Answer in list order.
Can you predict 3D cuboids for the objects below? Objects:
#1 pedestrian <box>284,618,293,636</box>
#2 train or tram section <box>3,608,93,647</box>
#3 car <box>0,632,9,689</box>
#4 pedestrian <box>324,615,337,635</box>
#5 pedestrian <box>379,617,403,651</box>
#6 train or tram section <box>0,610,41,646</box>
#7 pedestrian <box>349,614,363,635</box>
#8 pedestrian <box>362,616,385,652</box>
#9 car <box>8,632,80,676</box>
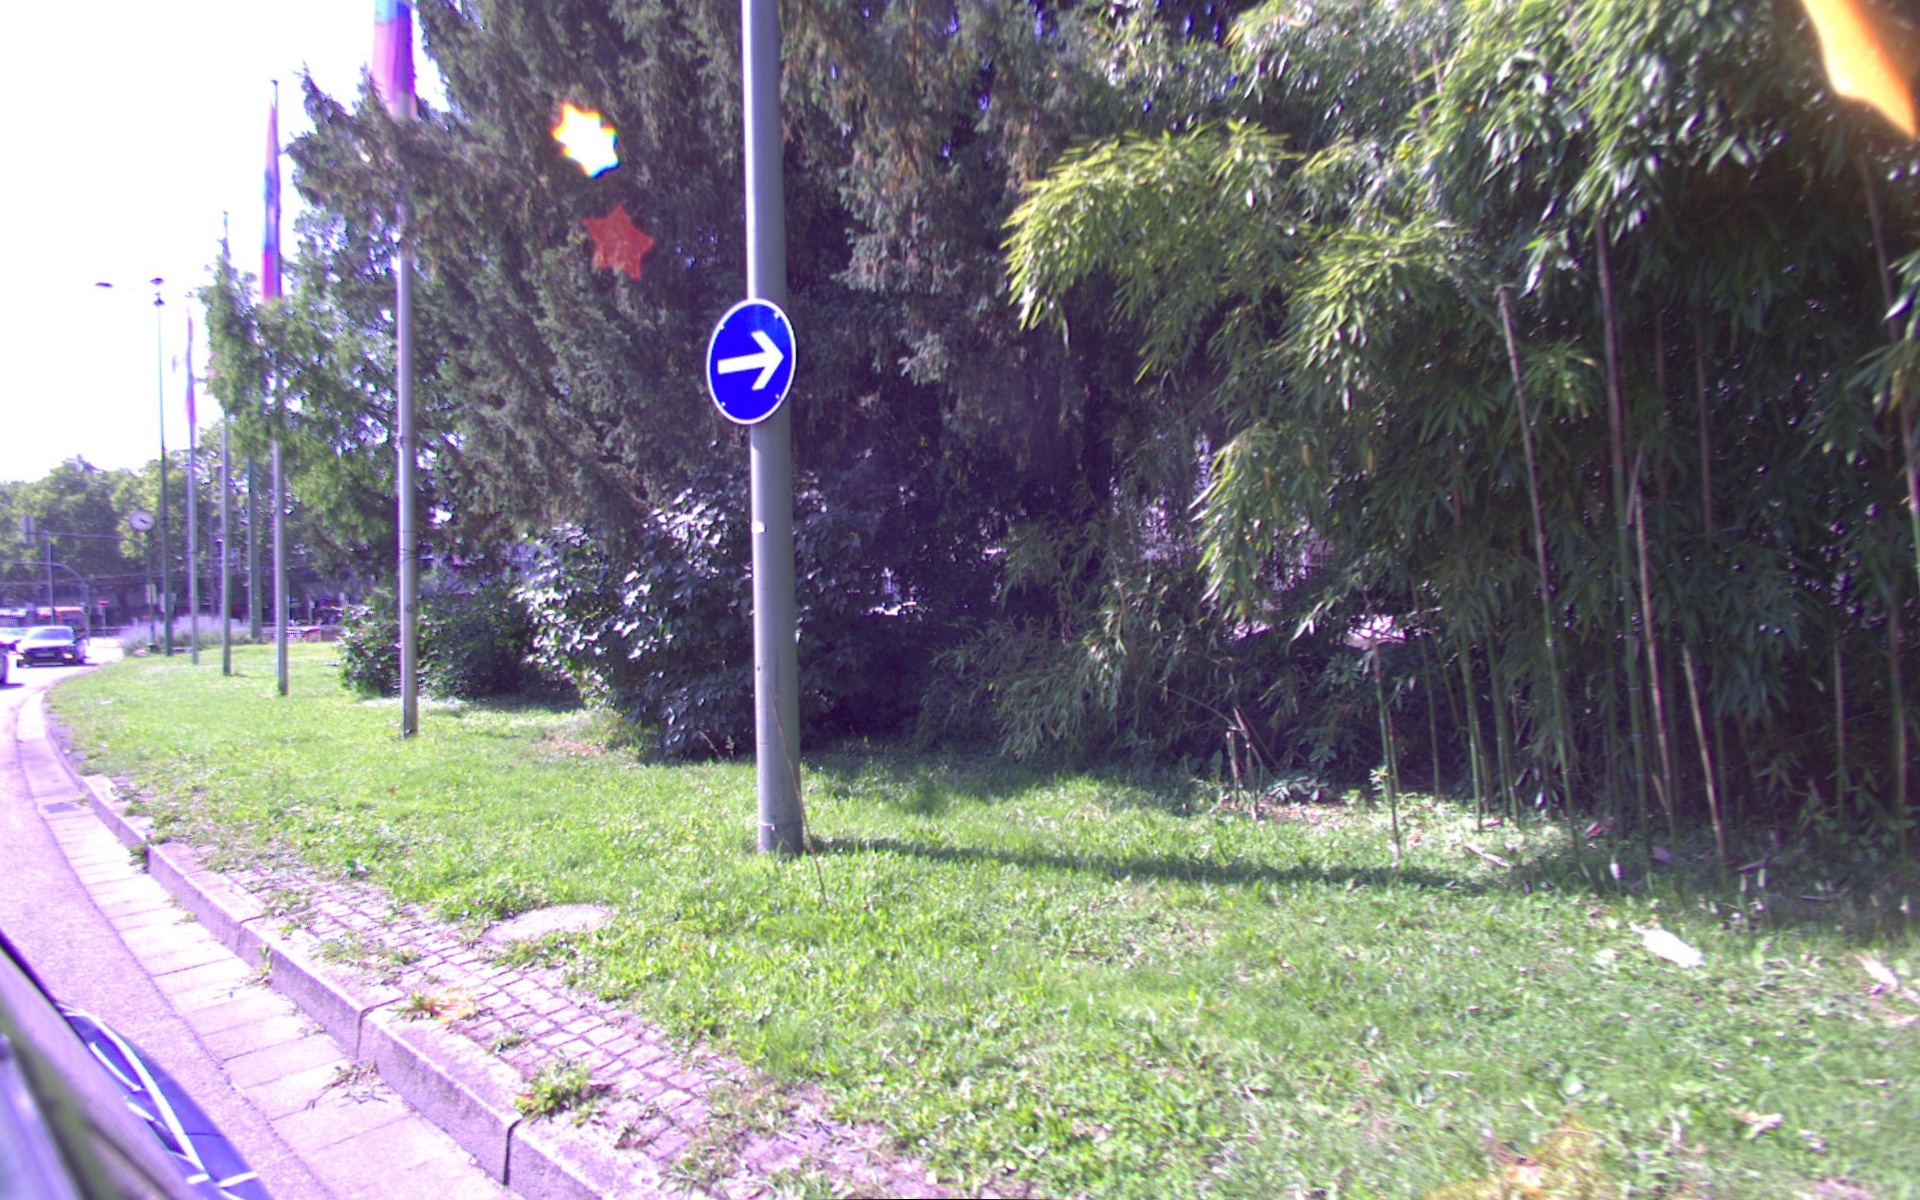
[{"bbox_3d":[-61.579,2.473,92.865,0.556,1.650,0.602,-1,-1,-21],"label":"pedestrian"},{"bbox_3d":[-83.466,2.546,92.593,8.682,3.292,2.713,-2,0,24],"label":"train or tram section"},{"bbox_3d":[-24.948,1.528,25.018,1.764,1.463,4.288,0,-2,-39],"label":"car"},{"bbox_3d":[-56.826,2.257,91.370,0.667,1.850,0.817,-1,-1,23],"label":"pedestrian"},{"bbox_3d":[-26.292,1.573,46.758,0.474,1.522,0.841,-2,0,36],"label":"pedestrian"},{"bbox_3d":[-91.372,2.718,96.110,8.682,3.292,2.713,-2,0,24],"label":"train or tram section"},{"bbox_3d":[-54.991,2.202,92.138,0.667,1.850,0.817,-1,-1,24],"label":"pedestrian"},{"bbox_3d":[-26.784,1.538,46.245,0.599,1.605,0.684,-2,0,36],"label":"pedestrian"},{"bbox_3d":[-33.665,1.950,37.277,1.764,1.504,4.095,0,-2,-40],"label":"car"}]
